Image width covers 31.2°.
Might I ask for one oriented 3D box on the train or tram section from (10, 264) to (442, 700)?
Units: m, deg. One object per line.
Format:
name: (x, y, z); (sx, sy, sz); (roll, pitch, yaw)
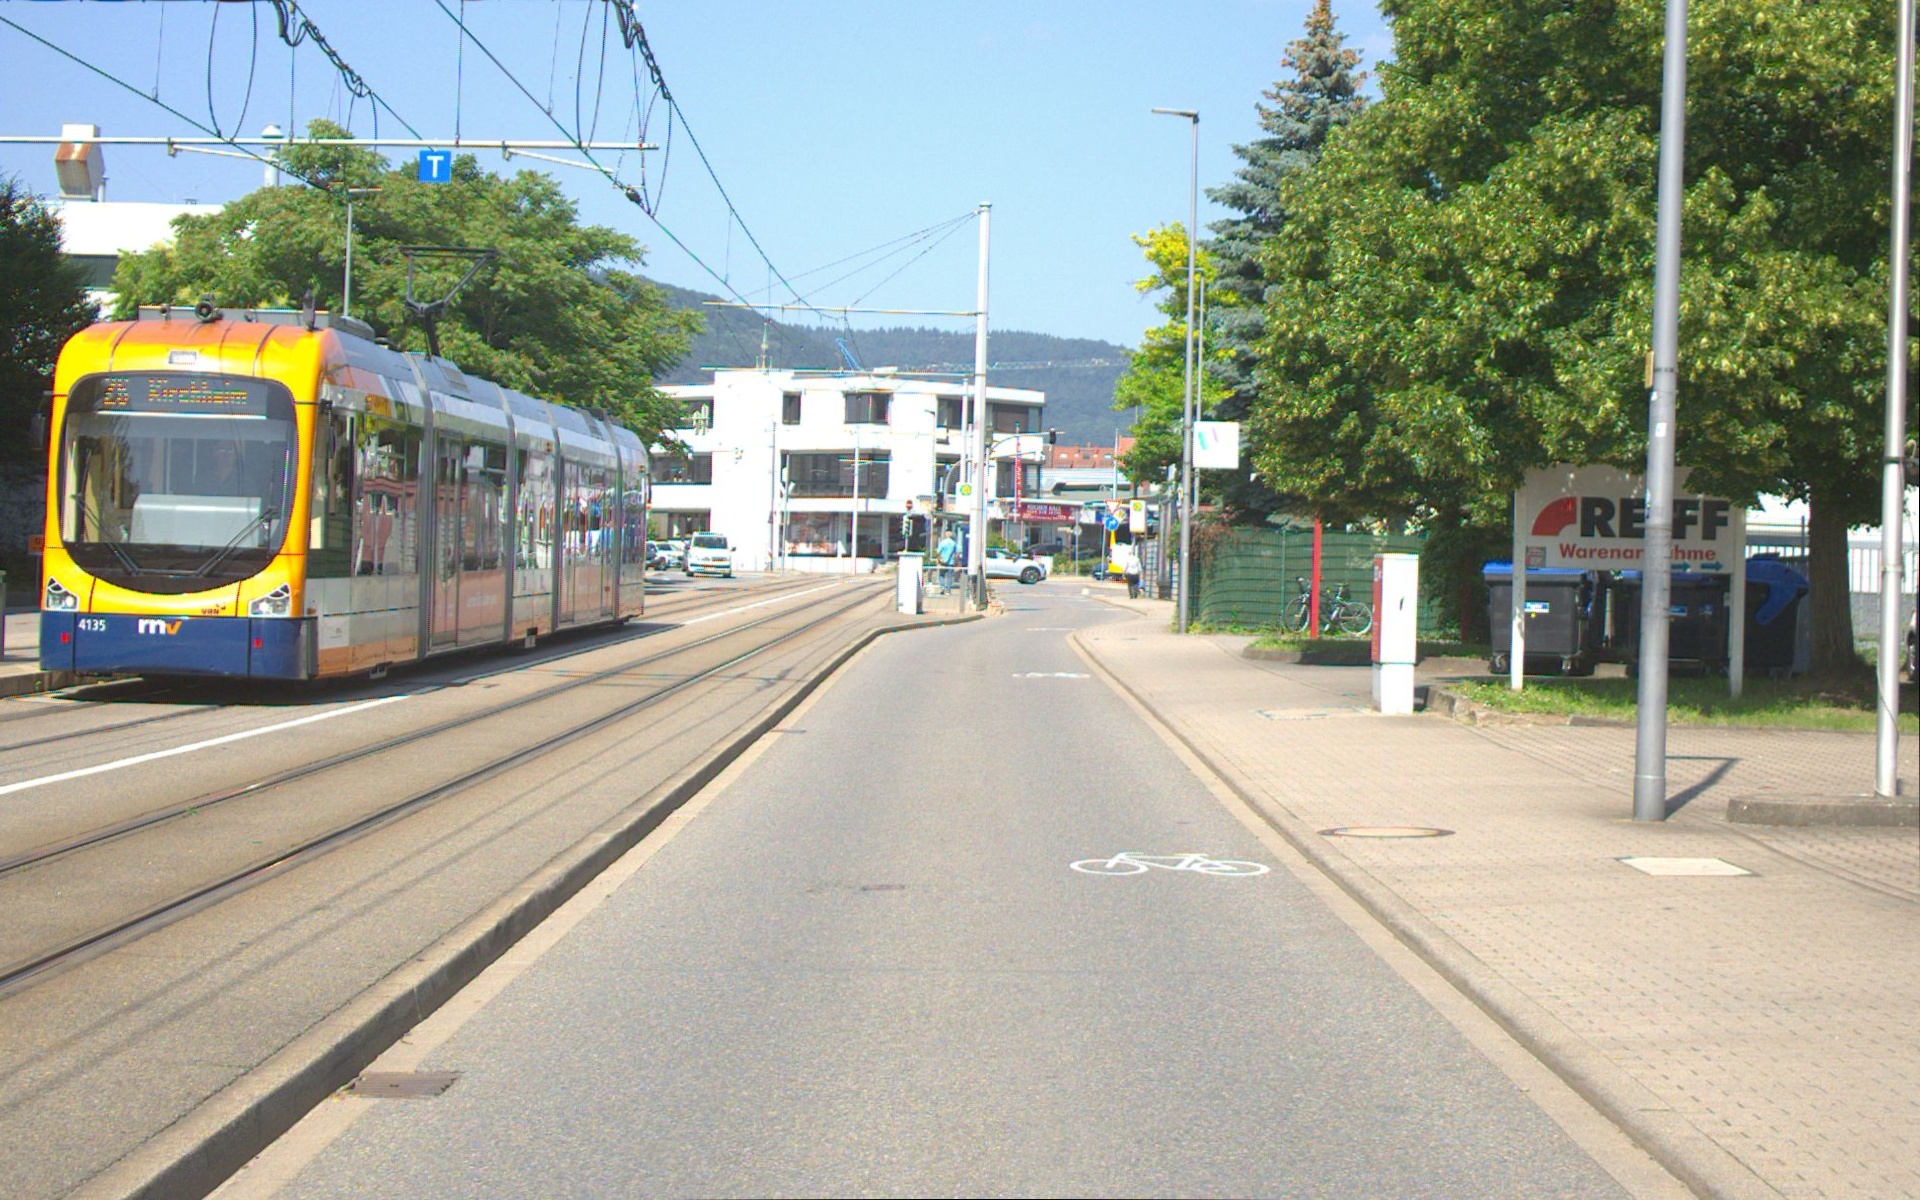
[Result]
train or tram section: (-6.448, -1.007, 31.034); (2.611, 3.521, 5.743); (1, 1, 0)

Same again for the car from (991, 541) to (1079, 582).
car: (3.440, -1.781, 157.513); (3.987, 1.744, 1.776); (2, 1, 1)

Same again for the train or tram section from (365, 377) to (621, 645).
train or tram section: (-6.431, -1.217, 48.347); (2.580, 3.435, 7.137); (1, 1, 0)

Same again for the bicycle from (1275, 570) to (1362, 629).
bicycle: (6.290, -0.007, 60.318); (1.471, 0.987, 0.388); (1, -2, 0)

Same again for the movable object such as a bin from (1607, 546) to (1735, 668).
movable object such as a bin: (8.698, 0.088, 42.067); (1.318, 1.425, 0.883); (2, -1, 26)

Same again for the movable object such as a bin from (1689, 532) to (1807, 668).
movable object such as a bin: (9.248, 0.009, 40.398); (0.978, 1.541, 1.321); (2, -1, -3)

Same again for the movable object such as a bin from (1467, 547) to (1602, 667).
movable object such as a bin: (7.133, 0.091, 42.681); (1.386, 1.425, 0.989); (2, -1, 26)

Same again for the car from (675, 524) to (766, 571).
car: (-10.440, -2.281, 150.106); (1.863, 1.930, 3.992); (4, 2, 33)

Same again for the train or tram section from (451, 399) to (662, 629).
train or tram section: (-6.374, -1.346, 55.118); (2.580, 3.435, 6.363); (1, 1, 0)

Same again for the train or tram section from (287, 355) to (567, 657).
train or tram section: (-6.450, -1.123, 42.273); (2.611, 3.435, 5.011); (1, 1, 0)

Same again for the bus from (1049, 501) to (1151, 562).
bus: (6.816, -3.391, 169.320); (2.435, 2.870, 8.795); (2, 1, -15)

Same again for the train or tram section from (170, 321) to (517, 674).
train or tram section: (-6.459, -1.053, 36.844); (2.611, 3.435, 5.844); (1, 1, 0)

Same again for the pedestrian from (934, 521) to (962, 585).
pedestrian: (-0.329, -1.282, 94.490); (0.743, 1.734, 0.727); (1, 1, 0)
